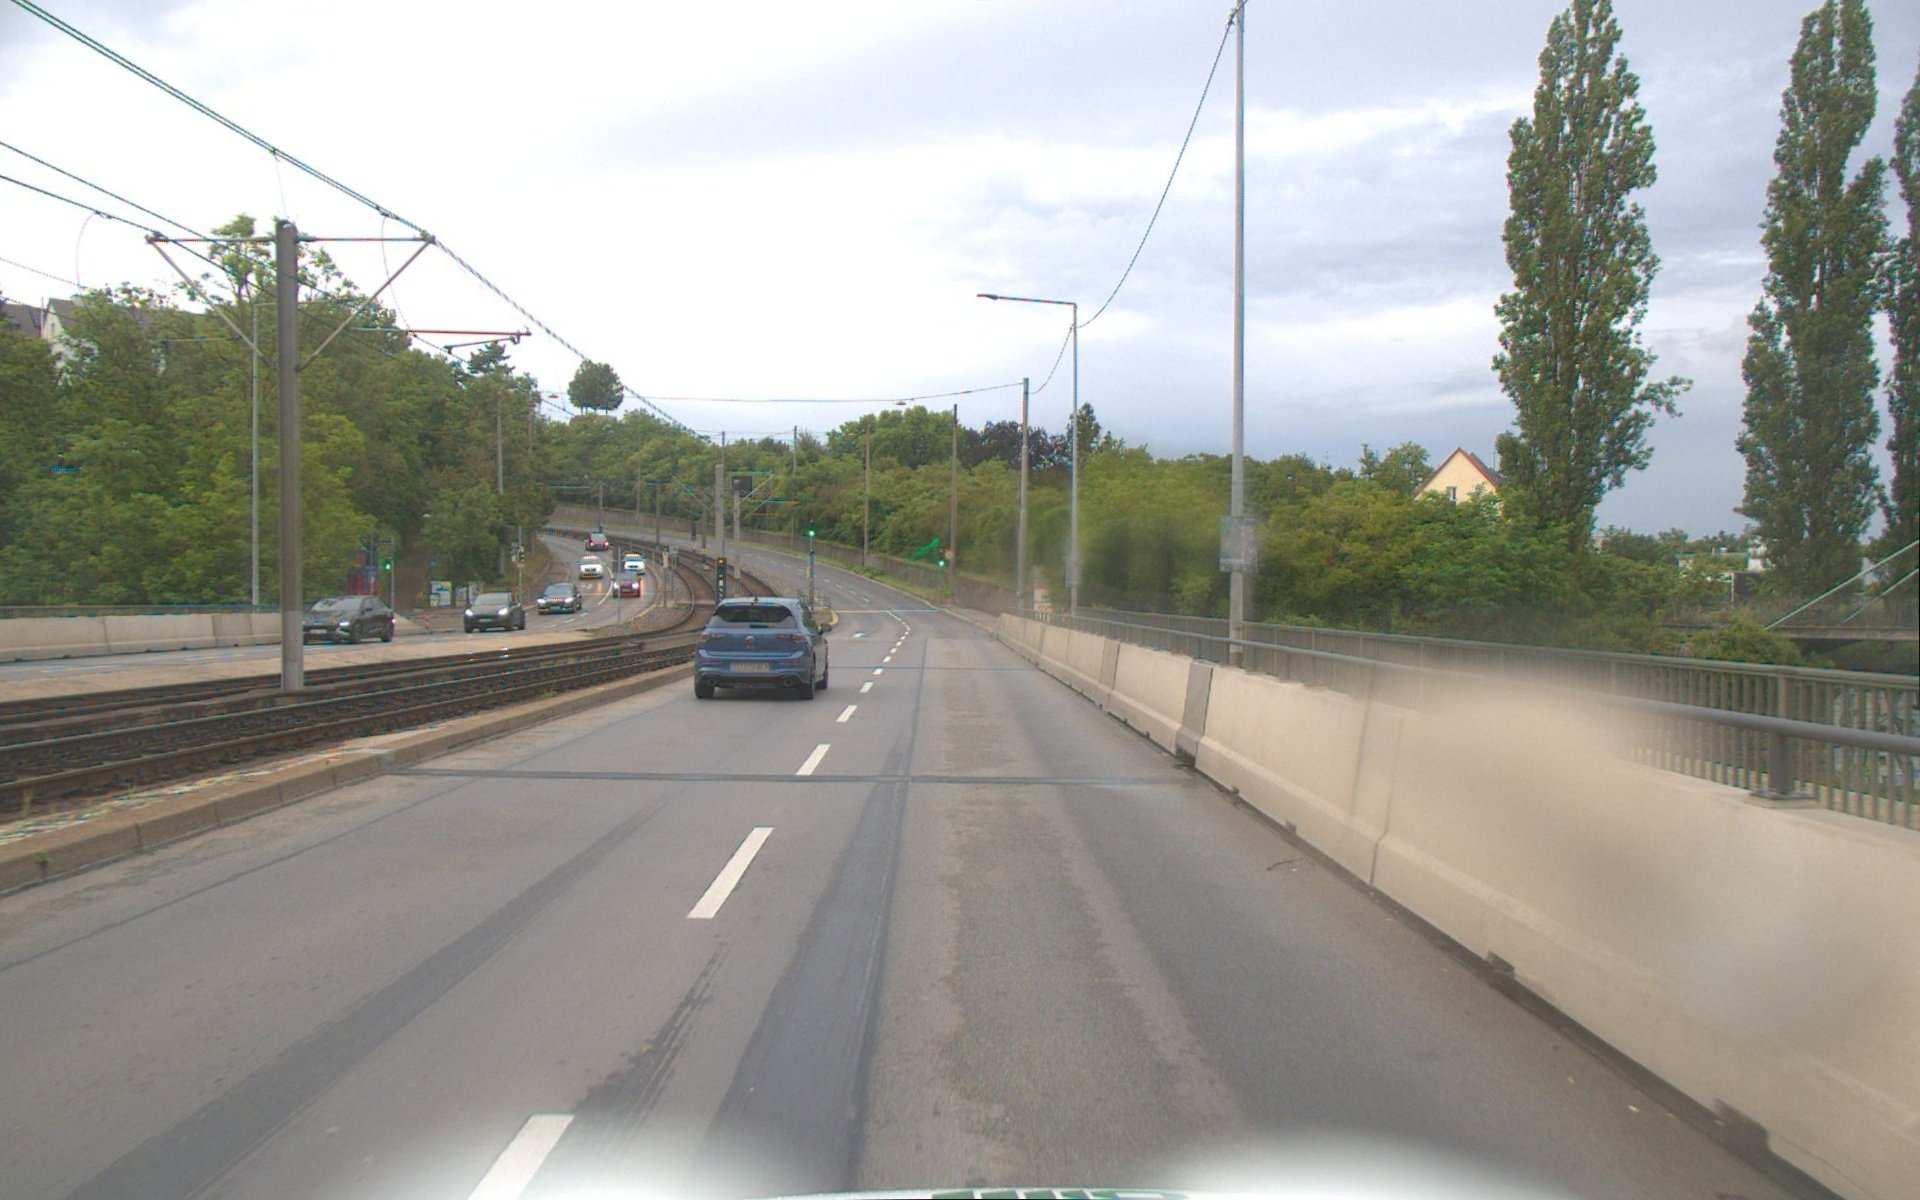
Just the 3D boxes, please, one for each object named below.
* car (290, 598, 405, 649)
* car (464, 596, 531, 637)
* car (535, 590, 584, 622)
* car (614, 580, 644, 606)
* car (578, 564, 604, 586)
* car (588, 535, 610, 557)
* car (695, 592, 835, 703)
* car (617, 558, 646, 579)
[{"bbox_3d":[-18.793,0.699,50.963,1.779,1.461,4.740,0,0,0],"label":"car"},{"bbox_3d":[-19.509,0.657,69.945,1.859,1.625,4.727,-1,1,-5],"label":"car"},{"bbox_3d":[-21.568,0.328,89.217,1.931,1.625,5.176,-1,-1,-7],"label":"car"},{"bbox_3d":[-20.486,-0.456,102.352,1.574,1.519,3.006,-1,2,-15],"label":"car"},{"bbox_3d":[-27.036,-1.807,121.316,1.789,1.541,4.515,0,0,-12],"label":"car"},{"bbox_3d":[-35.269,-5.289,161.501,1.818,1.623,4.716,-2,7,-16],"label":"car"},{"bbox_3d":[-2.883,0.674,25.223,1.728,1.527,3.999,1,0,-2],"label":"car"},{"bbox_3d":[-24.967,-2.391,125.536,1.703,1.462,4.469,-1,-1,-18],"label":"car"}]
